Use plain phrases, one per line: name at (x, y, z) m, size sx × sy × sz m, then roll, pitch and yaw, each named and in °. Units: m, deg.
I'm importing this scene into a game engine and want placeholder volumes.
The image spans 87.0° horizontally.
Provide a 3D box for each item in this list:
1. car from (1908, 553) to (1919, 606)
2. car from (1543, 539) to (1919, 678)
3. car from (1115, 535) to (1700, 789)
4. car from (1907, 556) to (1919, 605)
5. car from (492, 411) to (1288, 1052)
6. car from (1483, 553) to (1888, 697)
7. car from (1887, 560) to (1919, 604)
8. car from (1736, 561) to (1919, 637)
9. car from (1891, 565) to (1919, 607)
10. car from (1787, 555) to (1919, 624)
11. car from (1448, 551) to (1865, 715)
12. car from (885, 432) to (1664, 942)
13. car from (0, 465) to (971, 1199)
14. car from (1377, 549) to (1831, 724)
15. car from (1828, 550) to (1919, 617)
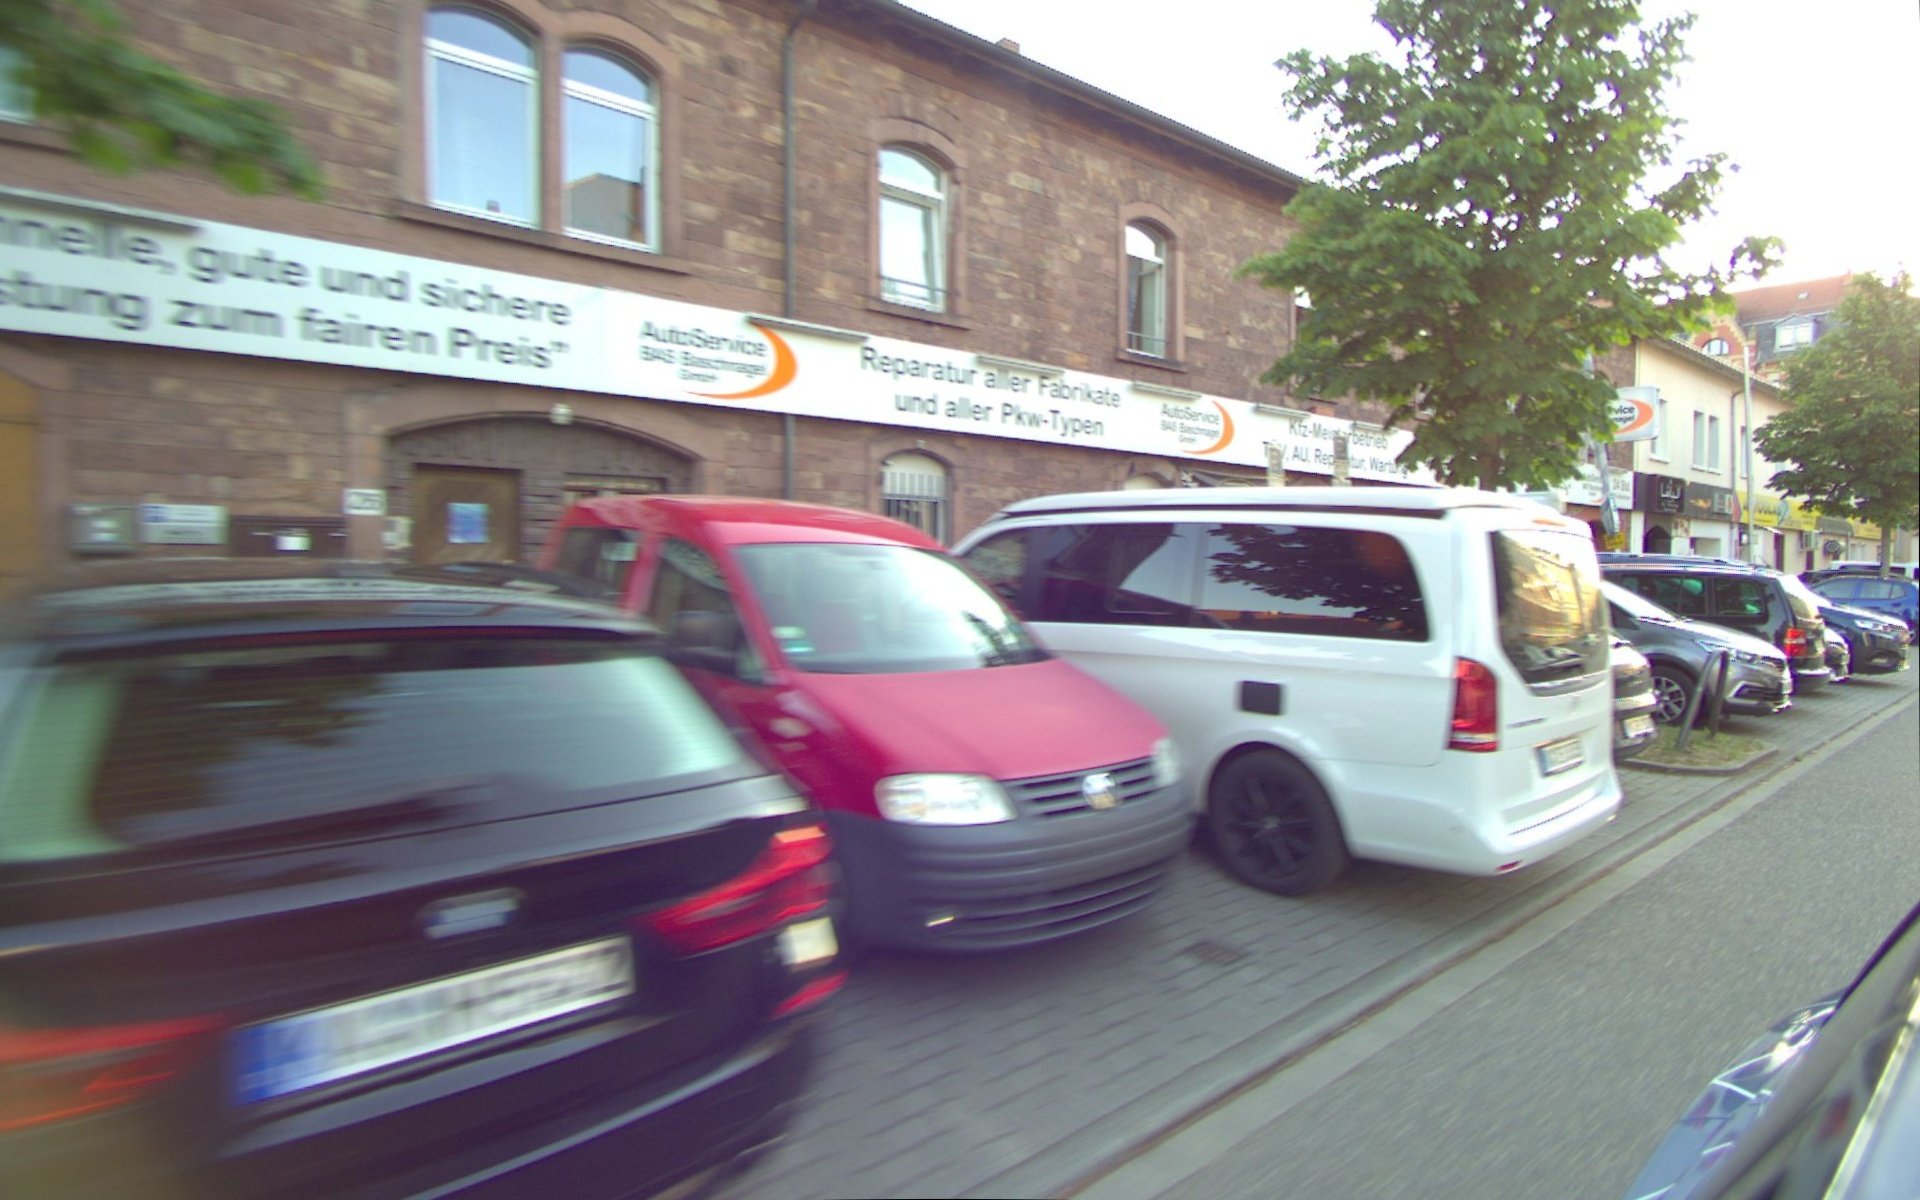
car at (41.302, -0.830, 40.207) m, size 2.110 × 2.127 × 4.978 m, roll -3°, pitch 2°, yaw -34°
car at (12.541, 0.002, 16.494) m, size 1.982 × 1.775 × 4.799 m, roll 0°, pitch 5°, yaw -40°
car at (3.350, 0.317, 8.199) m, size 1.745 × 1.528 × 3.995 m, roll -2°, pitch 2°, yaw -40°
car at (39.244, -0.663, 38.527) m, size 1.962 × 1.880 × 4.308 m, roll -1°, pitch 4°, yaw -35°
car at (-0.762, 0.317, 5.139) m, size 1.871 × 1.821 × 4.310 m, roll -2°, pitch 2°, yaw -40°
car at (10.417, 0.217, 14.836) m, size 1.947 × 1.593 × 4.425 m, roll -1°, pitch 5°, yaw -40°
car at (35.067, -0.563, 35.296) m, size 1.651 × 1.514 × 3.795 m, roll -2°, pitch 5°, yaw -39°
car at (21.873, -0.076, 24.932) m, size 1.812 × 1.564 × 3.999 m, roll -2°, pitch 6°, yaw -39°
car at (37.192, -0.419, 36.717) m, size 1.964 × 1.514 × 4.735 m, roll -2°, pitch 4°, yaw -39°
car at (25.754, -0.257, 27.488) m, size 1.963 × 1.650 × 4.712 m, roll -1°, pitch 6°, yaw -37°
car at (8.686, 0.253, 12.910) m, size 1.862 × 1.638 × 3.996 m, roll -2°, pitch 5°, yaw -40°
car at (1.526, 0.274, 5.992) m, size 1.965 × 1.927 × 3.995 m, roll -2°, pitch 2°, yaw -40°
car at (-2.060, 0.558, 3.186) m, size 1.742 × 1.517 × 4.436 m, roll -2°, pitch 2°, yaw -40°
car at (6.977, 0.278, 11.280) m, size 1.790 × 1.584 × 3.952 m, roll -2°, pitch 2°, yaw -42°
car at (29.610, -0.427, 30.669) m, size 1.975 × 1.883 × 4.605 m, roll -2°, pitch 7°, yaw -37°
